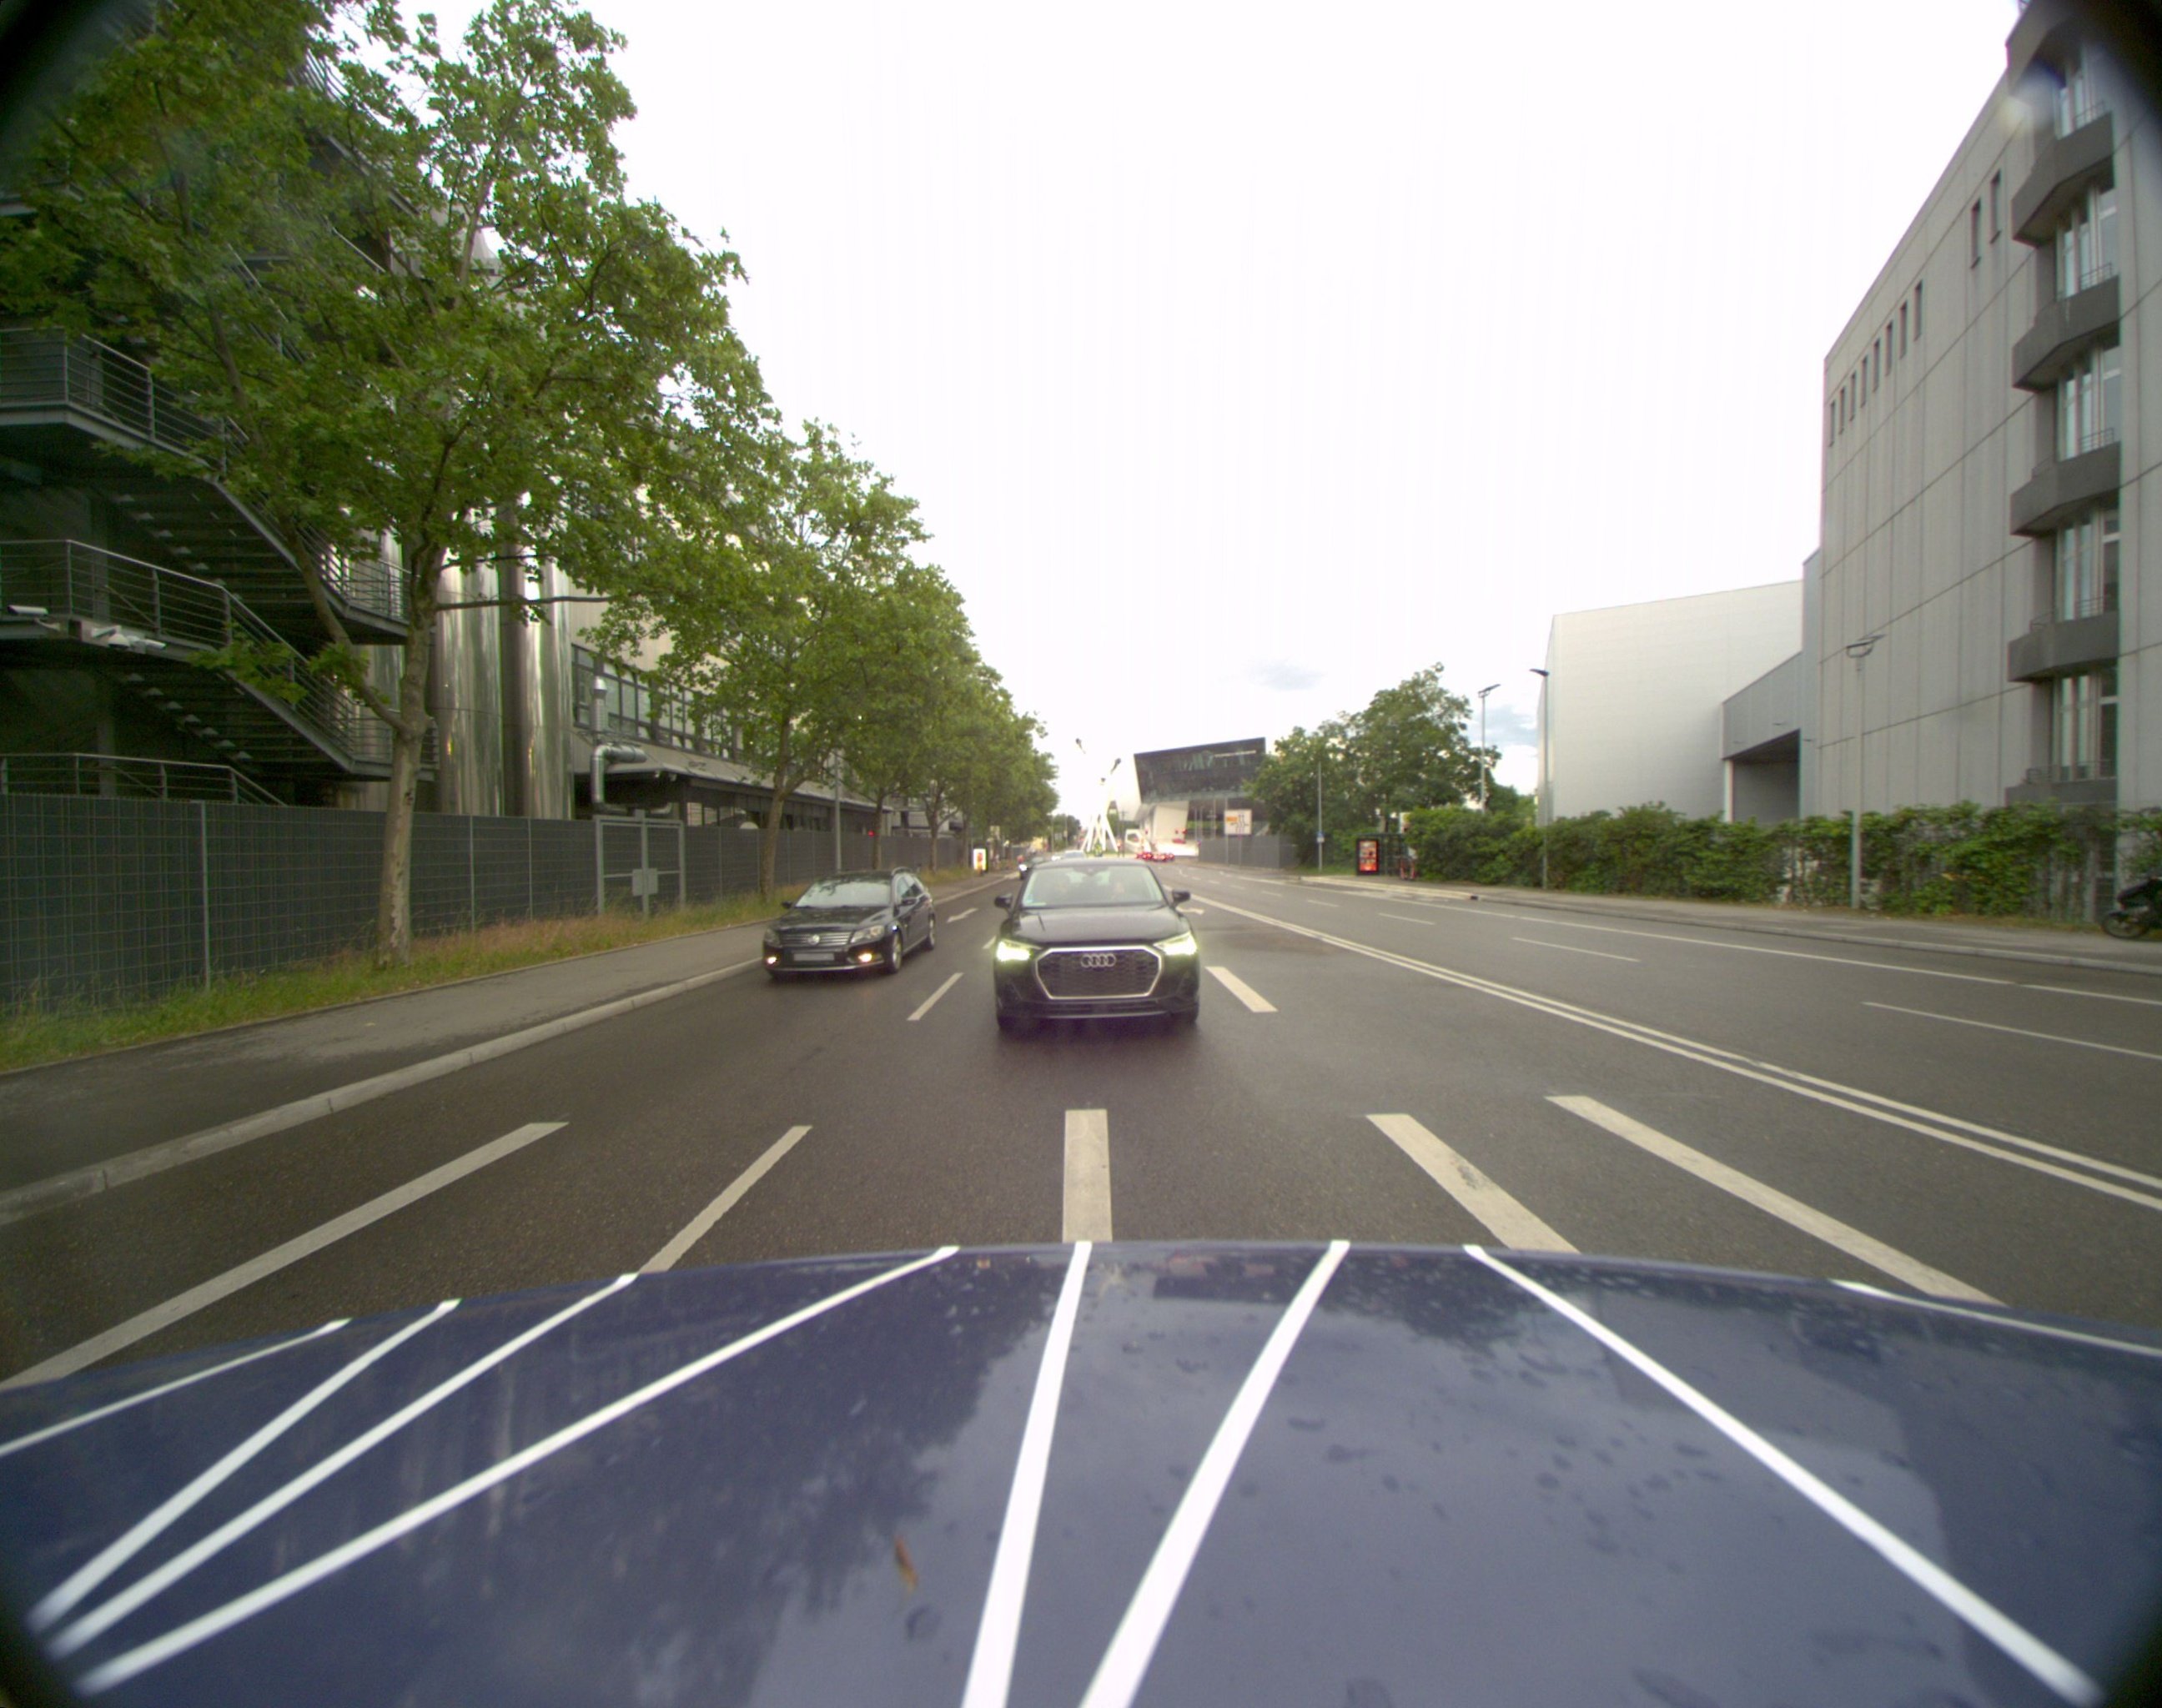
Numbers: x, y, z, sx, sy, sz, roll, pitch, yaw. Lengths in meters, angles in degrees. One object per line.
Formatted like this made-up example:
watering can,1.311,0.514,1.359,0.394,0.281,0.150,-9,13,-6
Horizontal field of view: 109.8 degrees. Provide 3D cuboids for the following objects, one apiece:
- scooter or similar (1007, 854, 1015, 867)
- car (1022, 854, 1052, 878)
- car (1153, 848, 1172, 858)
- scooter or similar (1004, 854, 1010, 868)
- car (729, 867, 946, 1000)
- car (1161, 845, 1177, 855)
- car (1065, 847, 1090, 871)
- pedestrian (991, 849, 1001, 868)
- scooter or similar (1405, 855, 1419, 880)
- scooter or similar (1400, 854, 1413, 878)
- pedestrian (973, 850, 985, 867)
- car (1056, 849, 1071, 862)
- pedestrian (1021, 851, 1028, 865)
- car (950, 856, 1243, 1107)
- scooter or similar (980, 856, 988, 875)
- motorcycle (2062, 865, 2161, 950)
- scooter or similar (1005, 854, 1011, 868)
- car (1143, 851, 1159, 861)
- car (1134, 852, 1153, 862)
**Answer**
scooter or similar,-6.956,0.667,75.635,0.437,1.288,1.367,-1,1,7
car,-3.012,0.798,52.423,1.951,1.610,4.072,0,0,-1
car,12.936,-0.181,120.828,2.267,1.469,4.052,0,1,18
scooter or similar,-6.961,0.697,71.540,0.437,1.288,1.300,-1,1,3
car,-3.385,1.011,11.642,1.842,1.444,4.785,-2,0,-1
car,14.849,-0.607,127.434,1.862,1.641,3.792,0,0,19
car,-0.317,0.398,61.148,1.951,1.879,4.490,0,0,-1
pedestrian,-7.547,0.417,67.773,0.778,1.700,0.729,-1,1,-1
scooter or similar,16.131,0.648,37.038,0.379,1.174,1.379,0,1,14
scooter or similar,16.454,0.623,38.452,0.389,1.173,1.251,0,1,13
pedestrian,-8.596,0.368,63.869,0.932,1.408,0.698,-1,1,-1
car,-2.430,0.248,105.253,1.951,1.767,4.490,0,0,-1
pedestrian,-6.632,0.445,89.342,0.723,1.610,0.833,1,2,-1
car,0.053,0.879,7.831,1.951,1.609,5.276,-2,0,-1
scooter or similar,-6.993,0.812,54.897,0.329,1.301,1.246,-1,1,4
motorcycle,16.686,0.821,11.539,0.786,1.243,2.157,-1,1,0
scooter or similar,-7.062,0.685,73.656,0.437,1.288,1.300,-1,1,3
car,11.854,0.316,128.570,1.878,1.641,3.857,0,0,16
car,10.093,0.471,122.592,2.255,1.469,3.884,0,1,18
